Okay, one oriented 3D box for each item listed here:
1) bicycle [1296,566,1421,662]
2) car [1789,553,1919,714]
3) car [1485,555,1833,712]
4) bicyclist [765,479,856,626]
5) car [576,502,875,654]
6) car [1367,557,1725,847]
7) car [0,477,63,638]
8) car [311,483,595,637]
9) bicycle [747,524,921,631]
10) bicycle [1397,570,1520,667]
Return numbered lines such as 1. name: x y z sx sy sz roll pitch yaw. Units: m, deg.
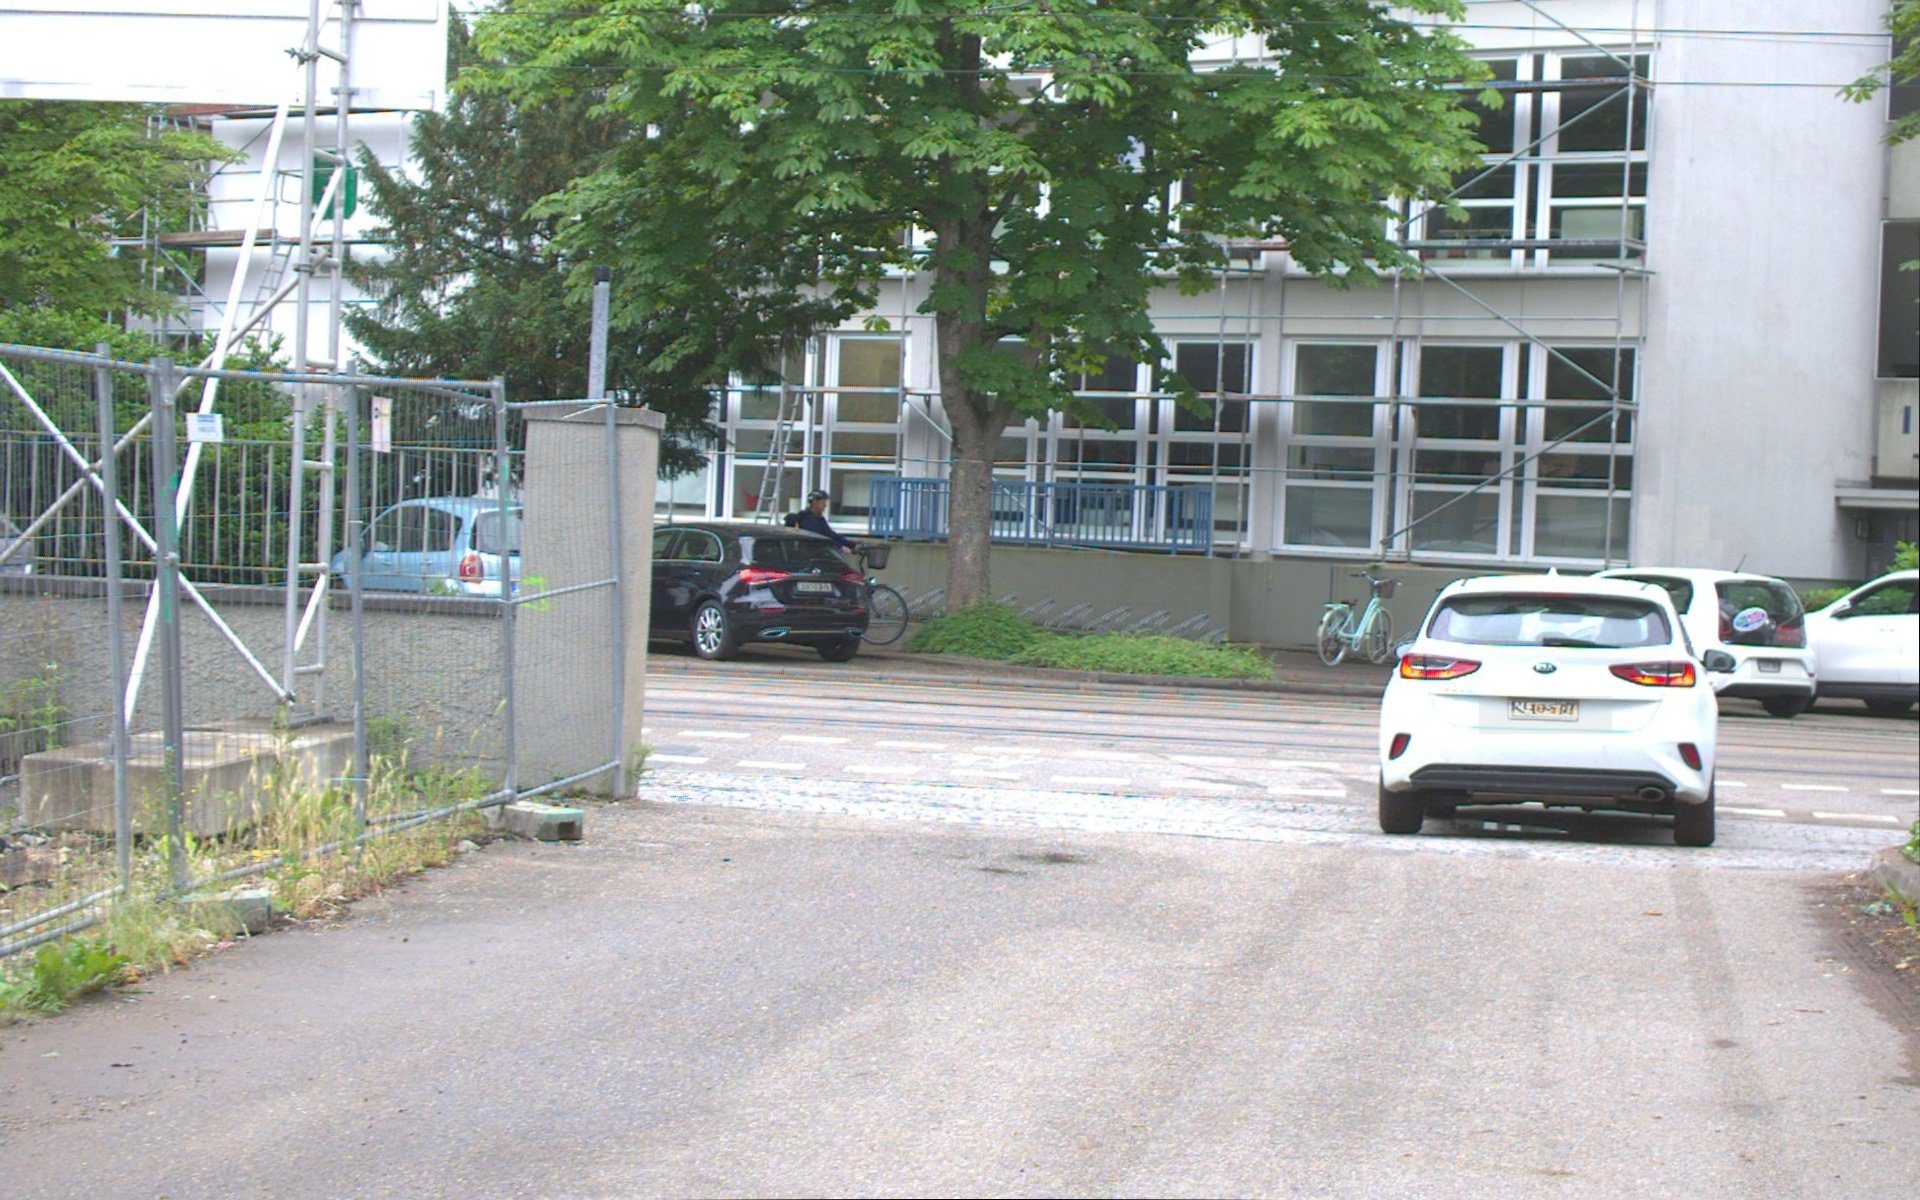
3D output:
1. bicycle: 4.962 0.155 42.701 0.645 1.071 2.308 3 4 30
2. car: 10.475 0.381 35.745 1.551 1.612 3.408 2 1 -34
3. car: 7.245 0.325 35.877 1.551 1.468 3.408 2 1 -34
4. bicyclist: -1.774 -0.571 40.902 0.894 1.692 0.834 3 1 7
5. car: -2.560 -0.255 36.979 1.614 1.506 3.336 2 1 -37
6. car: 3.463 0.578 19.777 1.776 1.428 3.976 2 -1 13
7. car: -10.870 -0.488 32.950 3.988 1.514 1.730 2 1 8
8. car: -5.536 -0.449 37.286 1.614 1.531 3.337 1 1 -37
9. bicycle: -1.492 -0.273 40.880 1.910 1.170 0.821 3 1 7
10. bicycle: 6.106 0.209 41.995 0.645 1.071 2.308 3 4 30
